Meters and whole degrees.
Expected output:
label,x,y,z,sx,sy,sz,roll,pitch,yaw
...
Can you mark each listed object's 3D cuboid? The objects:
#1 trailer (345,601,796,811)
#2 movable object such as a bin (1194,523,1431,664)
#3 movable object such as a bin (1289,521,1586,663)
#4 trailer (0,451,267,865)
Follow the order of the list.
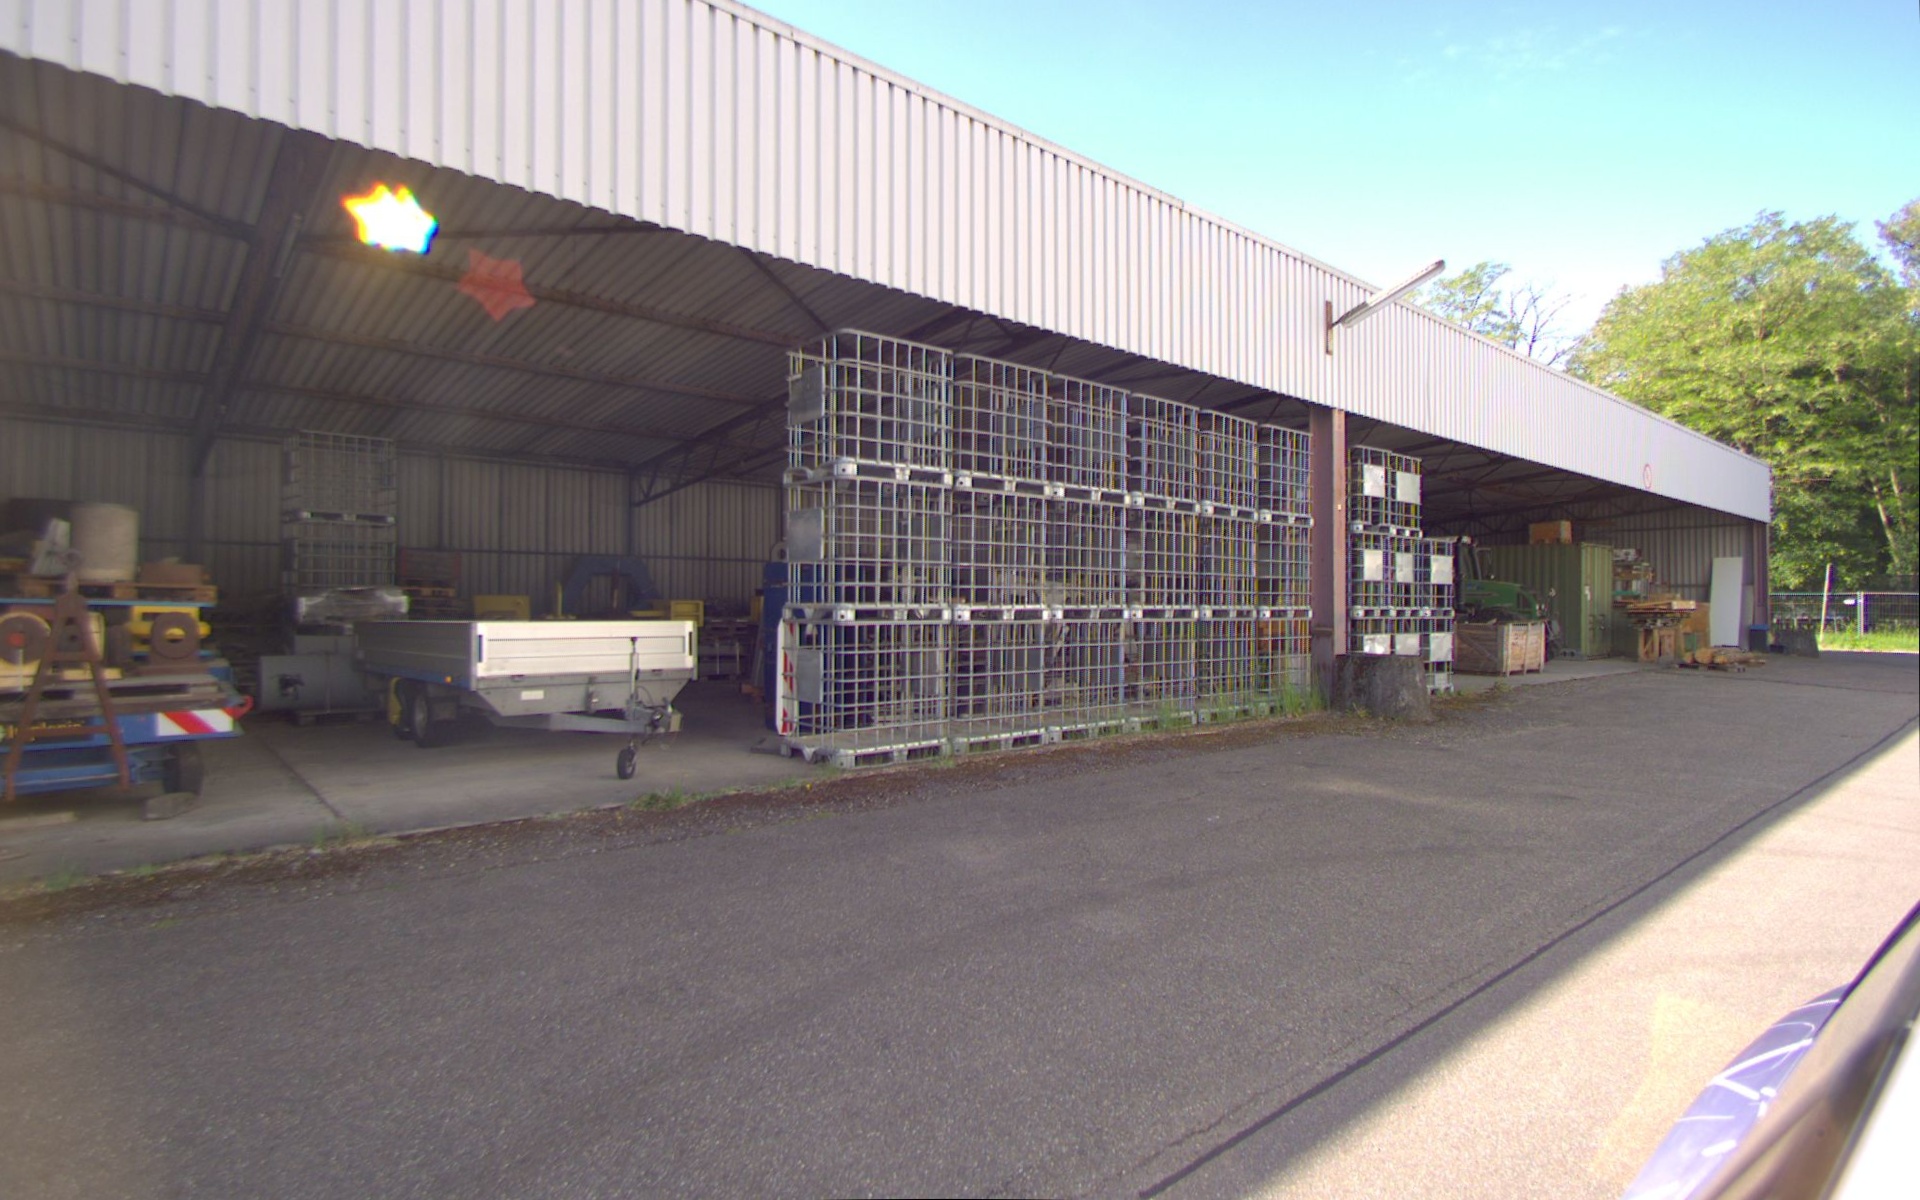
label,x,y,z,sx,sy,sz,roll,pitch,yaw
trailer,-3.856,0.669,9.150,1.940,1.200,5.737,0,1,-42
movable object such as a bin,7.950,-0.139,23.121,2.453,2.867,4.535,1,0,-40
movable object such as a bin,11.234,-0.174,24.219,2.770,2.962,5.845,0,0,-40
trailer,-6.049,0.245,6.668,2.124,2.015,4.433,0,1,-39
